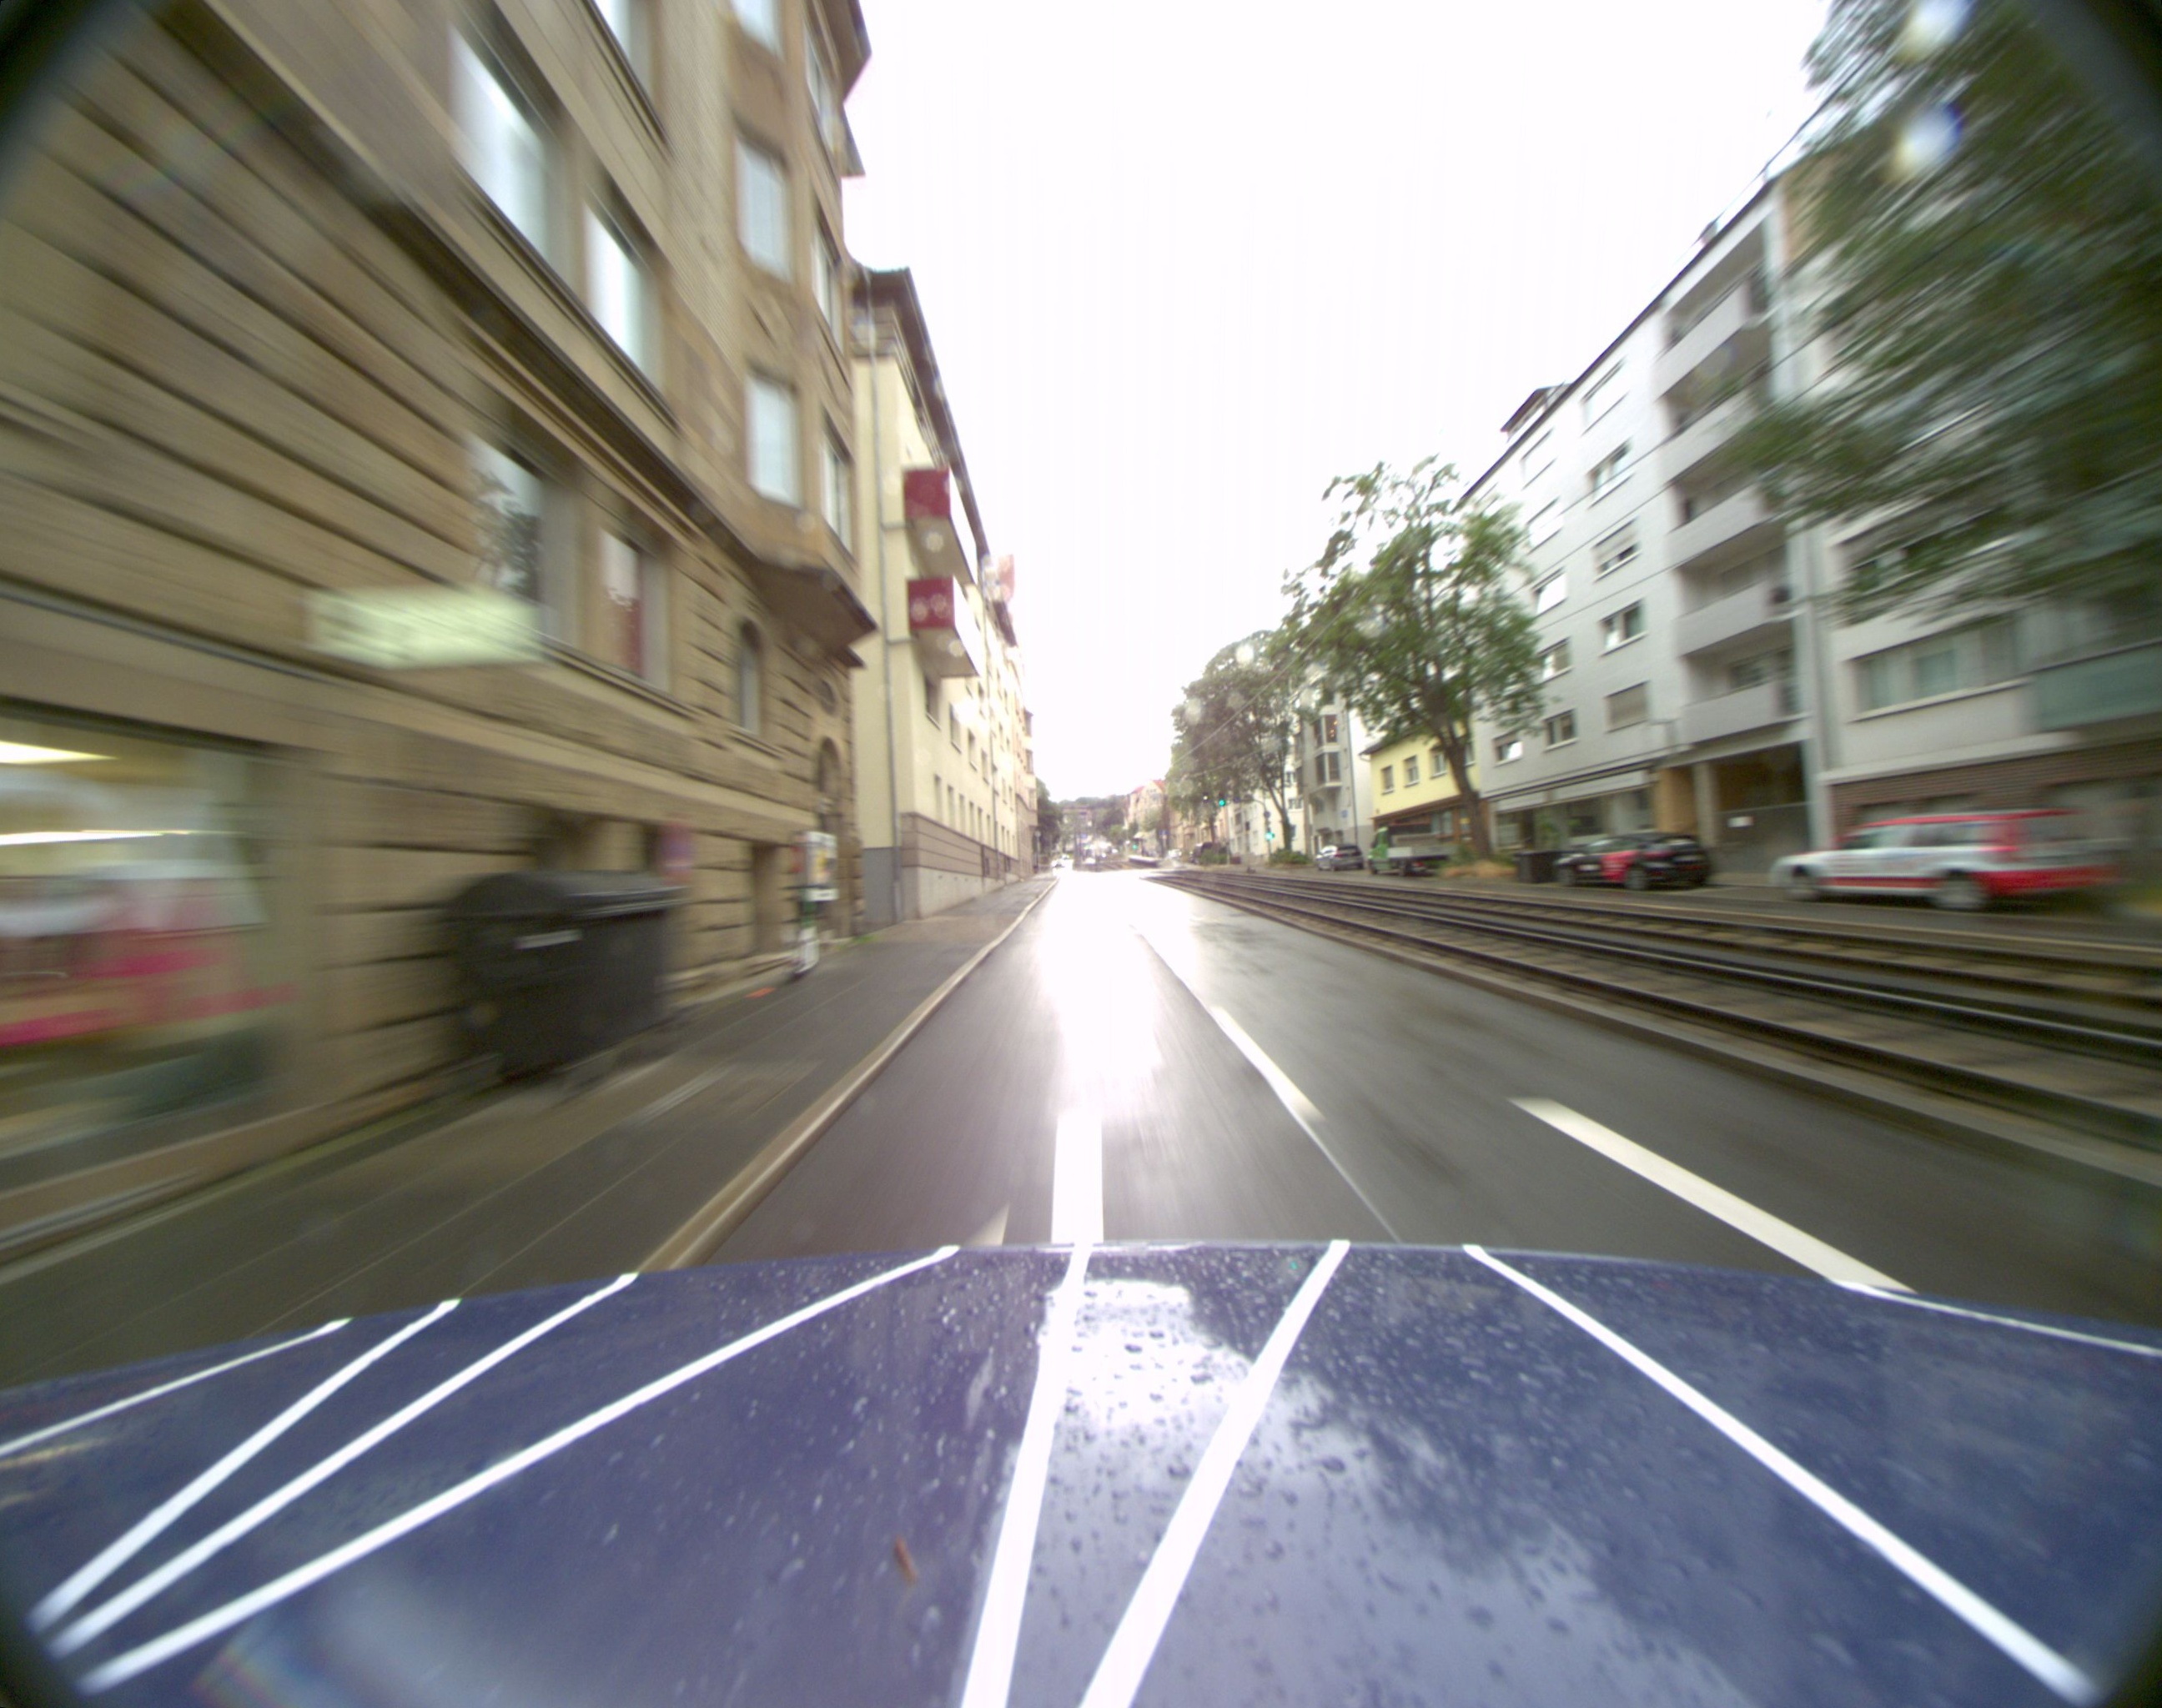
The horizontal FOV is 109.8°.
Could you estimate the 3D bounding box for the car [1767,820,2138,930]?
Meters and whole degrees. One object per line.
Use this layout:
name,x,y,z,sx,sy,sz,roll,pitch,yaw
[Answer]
car,14.906,0.317,13.436,1.781,1.560,4.159,-2,0,0

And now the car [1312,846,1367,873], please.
car,15.230,0.309,44.987,1.709,1.451,4.360,-4,0,0

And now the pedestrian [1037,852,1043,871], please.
pedestrian,-4.155,0.790,76.552,0.547,1.904,0.604,-2,1,-3

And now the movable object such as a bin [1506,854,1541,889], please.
movable object such as a bin,14.550,0.572,24.994,0.727,1.115,0.671,-2,0,-5

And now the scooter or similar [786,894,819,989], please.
scooter or similar,-3.578,1.095,9.795,0.210,1.105,0.890,-1,2,-9

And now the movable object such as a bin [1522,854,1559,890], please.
movable object such as a bin,14.699,0.571,24.305,0.727,1.115,0.671,-2,0,-5

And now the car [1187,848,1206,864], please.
car,15.542,0.250,102.630,1.998,2.002,4.000,-2,0,2

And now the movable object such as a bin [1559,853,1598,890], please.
movable object such as a bin,15.471,0.549,23.640,0.727,1.115,0.671,-2,0,-5

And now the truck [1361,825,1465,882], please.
truck,15.013,-0.085,34.864,2.197,2.332,6.352,-2,1,2

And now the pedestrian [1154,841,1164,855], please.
pedestrian,10.090,-0.817,98.268,1.120,1.772,0.965,-2,0,0

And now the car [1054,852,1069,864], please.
car,-2.843,0.528,111.382,1.999,1.652,4.000,-2,0,-1

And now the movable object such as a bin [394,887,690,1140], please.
movable object such as a bin,-3.552,0.976,5.203,1.011,1.443,1.393,0,0,0

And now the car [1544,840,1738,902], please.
car,14.959,0.426,20.691,1.911,1.431,4.469,-2,0,-1

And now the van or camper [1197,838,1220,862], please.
van or camper,15.596,-0.512,93.225,1.998,2.782,5.211,-1,2,1
